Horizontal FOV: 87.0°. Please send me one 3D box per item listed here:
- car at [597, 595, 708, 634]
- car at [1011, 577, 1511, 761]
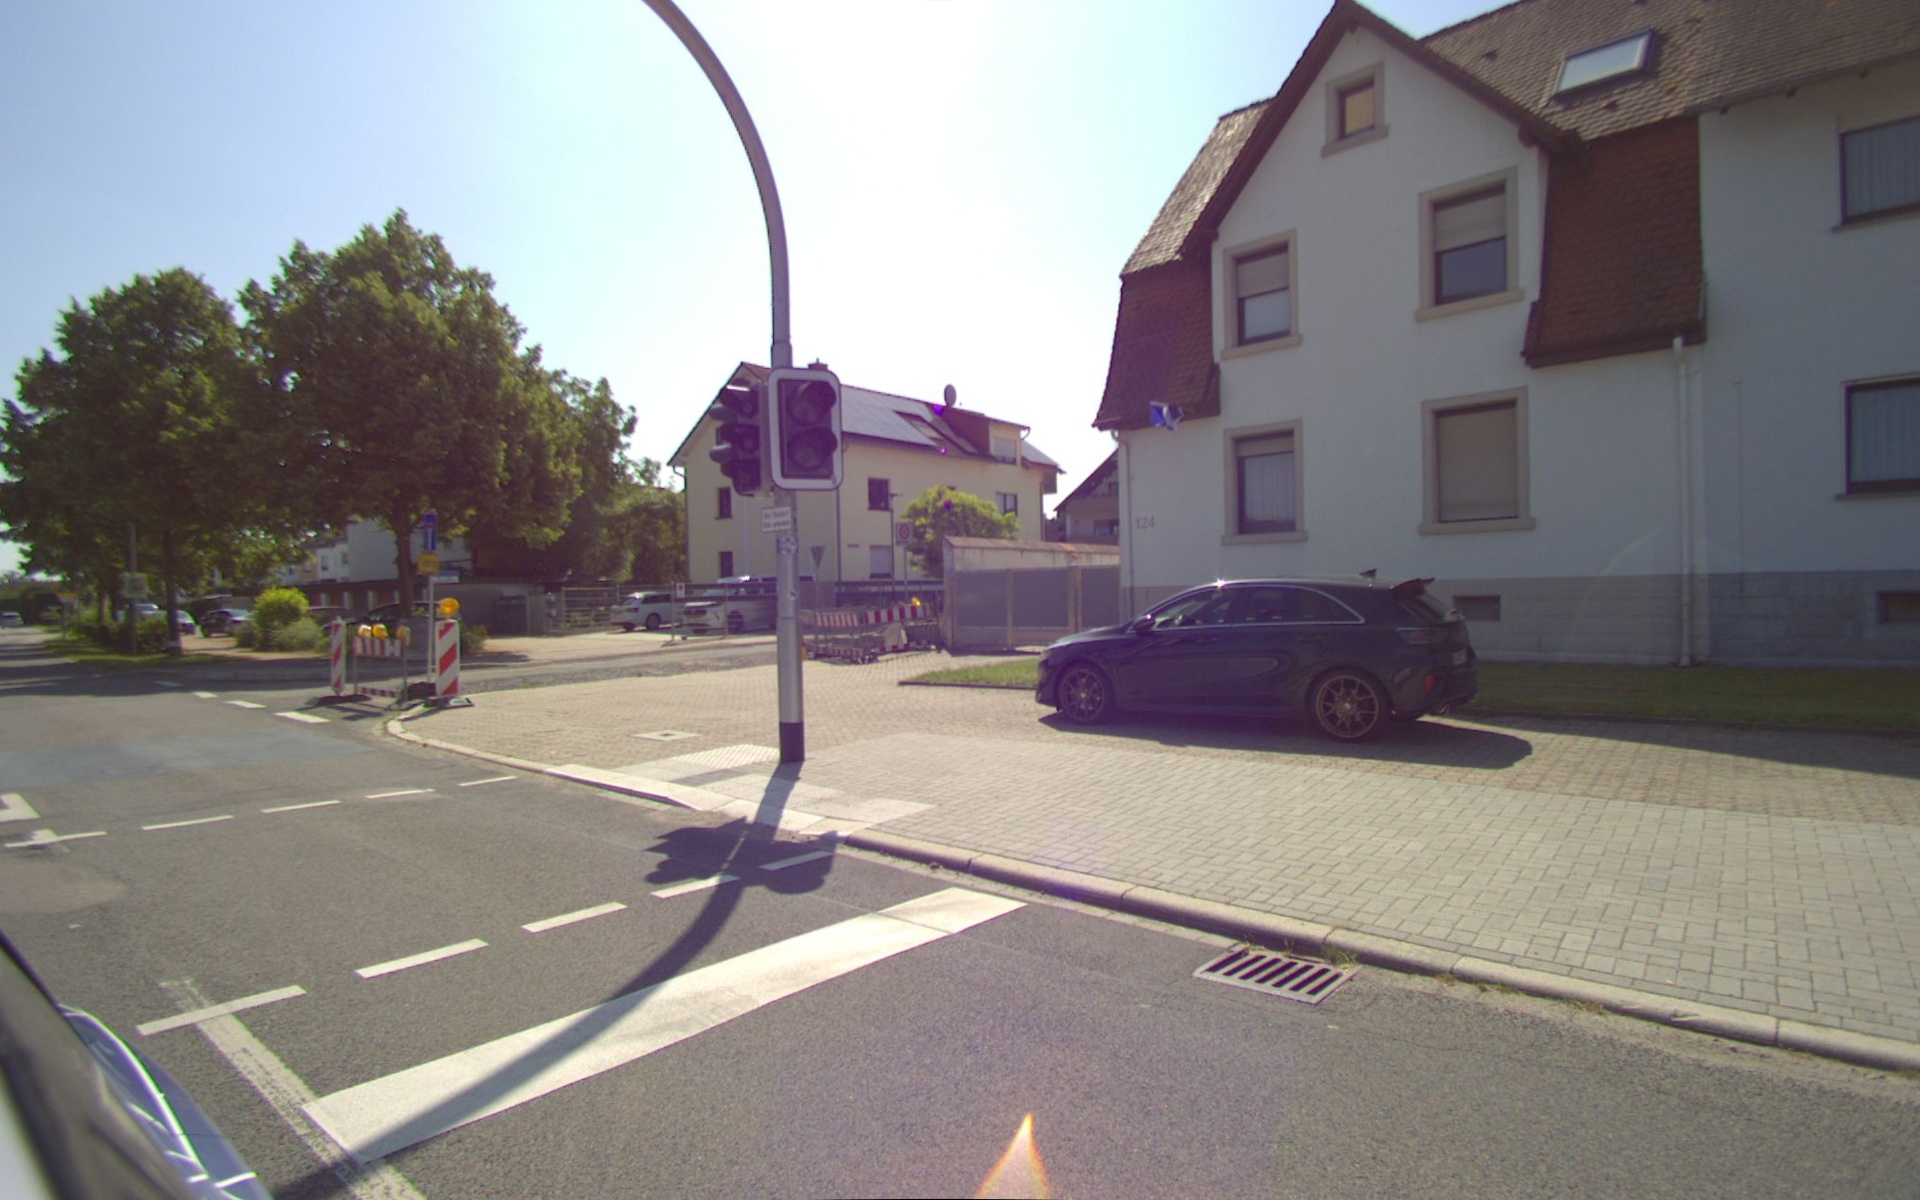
[{"bbox_3d":[-12.632,0.588,41.697,1.998,1.516,3.947,-1,0,40],"label":"car"},{"bbox_3d":[2.740,0.523,9.886,4.397,1.418,1.696,0,0,42],"label":"car"}]
